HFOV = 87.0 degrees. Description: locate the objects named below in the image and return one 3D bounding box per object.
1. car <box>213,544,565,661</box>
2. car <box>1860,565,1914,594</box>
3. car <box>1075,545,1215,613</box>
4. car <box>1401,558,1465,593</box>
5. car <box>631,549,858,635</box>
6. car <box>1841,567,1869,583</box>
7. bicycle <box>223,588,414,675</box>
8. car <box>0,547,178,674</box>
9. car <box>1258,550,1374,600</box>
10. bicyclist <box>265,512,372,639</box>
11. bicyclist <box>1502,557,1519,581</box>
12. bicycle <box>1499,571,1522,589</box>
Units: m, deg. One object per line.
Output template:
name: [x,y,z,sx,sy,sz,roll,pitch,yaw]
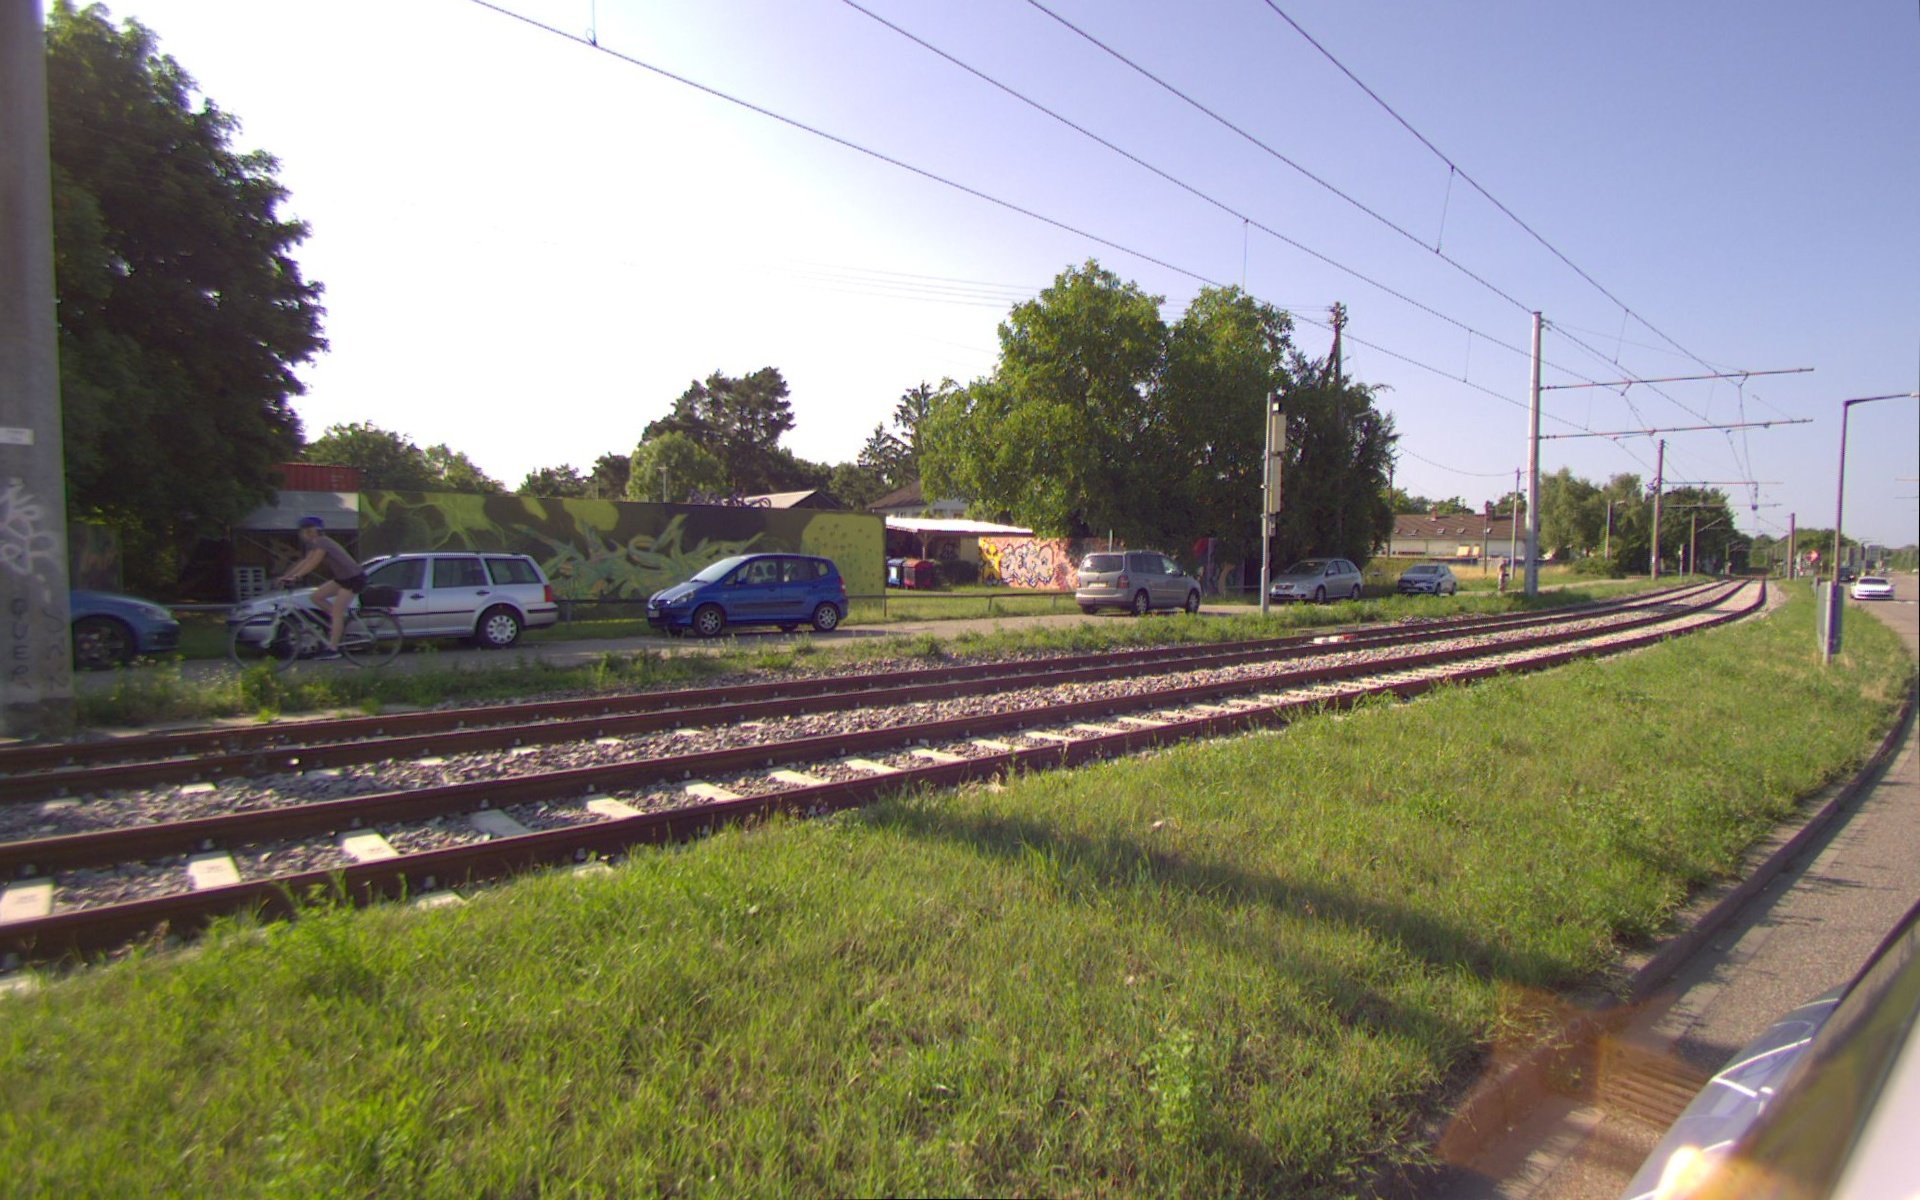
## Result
car: [-8.321,-0.033,14.988,4.313,1.483,1.713,-1,3,-41]
car: [55.634,-1.242,60.796,1.959,1.638,4.251,2,3,37]
car: [4.941,-0.585,26.651,1.522,1.630,4.417,3,3,42]
car: [20.823,-1.091,44.479,1.533,1.466,4.072,3,3,40]
car: [-3.977,-0.169,18.961,3.841,1.448,1.681,-1,1,-39]
car: [87.608,-2.459,99.088,1.829,1.532,4.095,0,1,39]
bicycle: [-7.558,0.341,11.978,1.814,0.921,0.643,-2,2,-45]
car: [-11.613,0.102,11.552,1.485,1.418,4.085,3,3,44]
car: [12.597,-0.895,35.652,4.648,1.609,1.910,-1,3,-43]
bicyclist: [-7.569,-0.293,11.954,0.946,1.440,0.630,-1,2,-44]
bicyclist: [28.949,-1.622,53.232,0.639,1.248,0.779,1,1,42]
bicycle: [28.977,-1.071,53.261,0.642,0.921,1.786,1,2,42]
